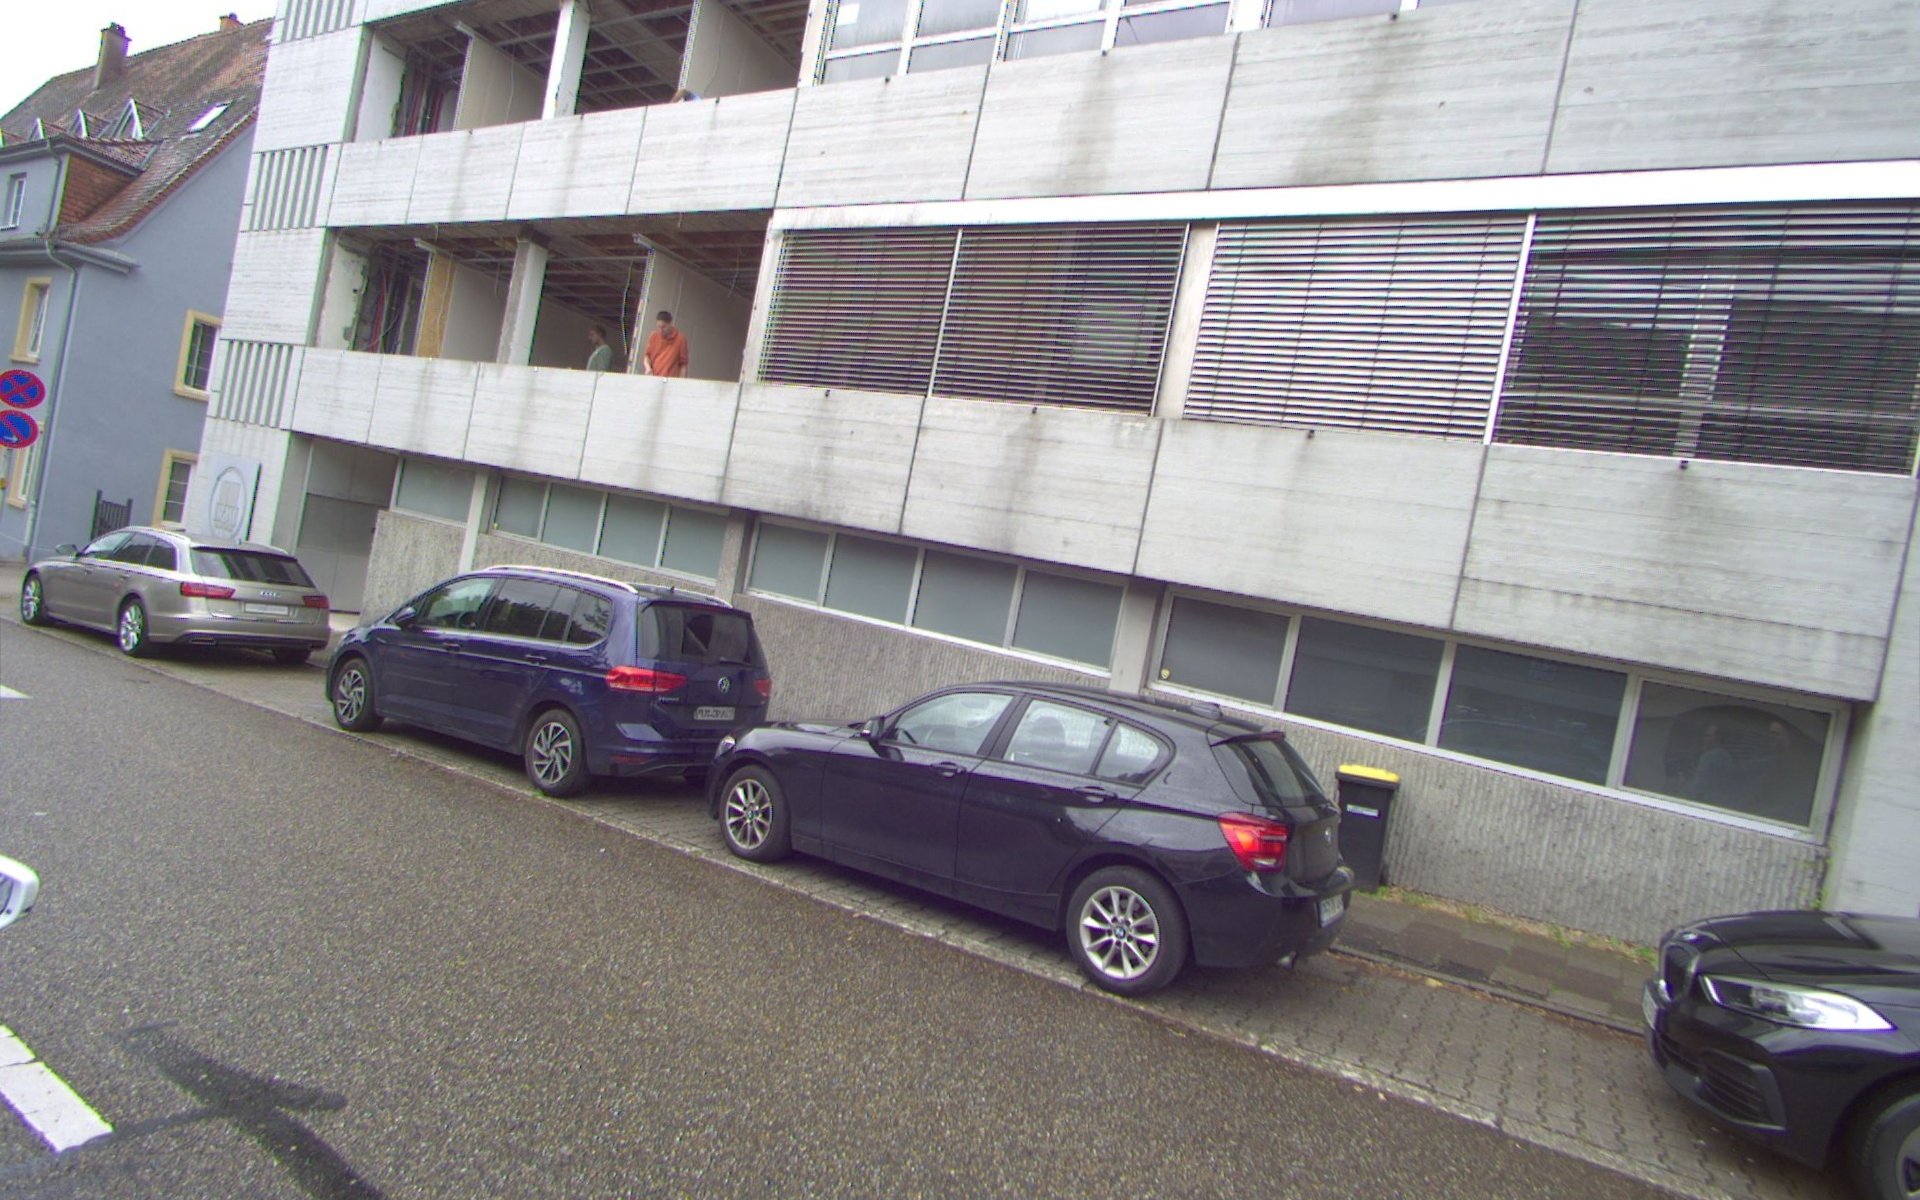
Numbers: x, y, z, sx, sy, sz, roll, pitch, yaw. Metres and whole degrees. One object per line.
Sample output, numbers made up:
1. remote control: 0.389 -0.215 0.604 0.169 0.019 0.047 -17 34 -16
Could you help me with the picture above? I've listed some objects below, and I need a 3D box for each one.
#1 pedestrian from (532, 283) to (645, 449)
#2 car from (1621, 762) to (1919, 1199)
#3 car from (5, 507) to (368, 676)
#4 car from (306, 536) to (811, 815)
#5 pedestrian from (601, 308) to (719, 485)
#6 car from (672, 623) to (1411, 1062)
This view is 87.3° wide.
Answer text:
1. pedestrian: -5.180 -3.227 14.054 0.847 2.036 0.909 6 -2 31
2. car: 5.095 1.776 3.529 4.367 1.453 1.996 7 0 30
3. car: -9.795 -0.129 12.673 4.449 1.465 1.966 7 -1 30
4. car: -3.518 0.530 8.648 4.090 1.618 1.732 7 -1 30
5. pedestrian: -3.906 -2.623 13.140 0.847 2.036 0.909 6 -2 31
6. car: 0.343 1.170 6.307 4.183 1.465 1.750 7 -1 34
